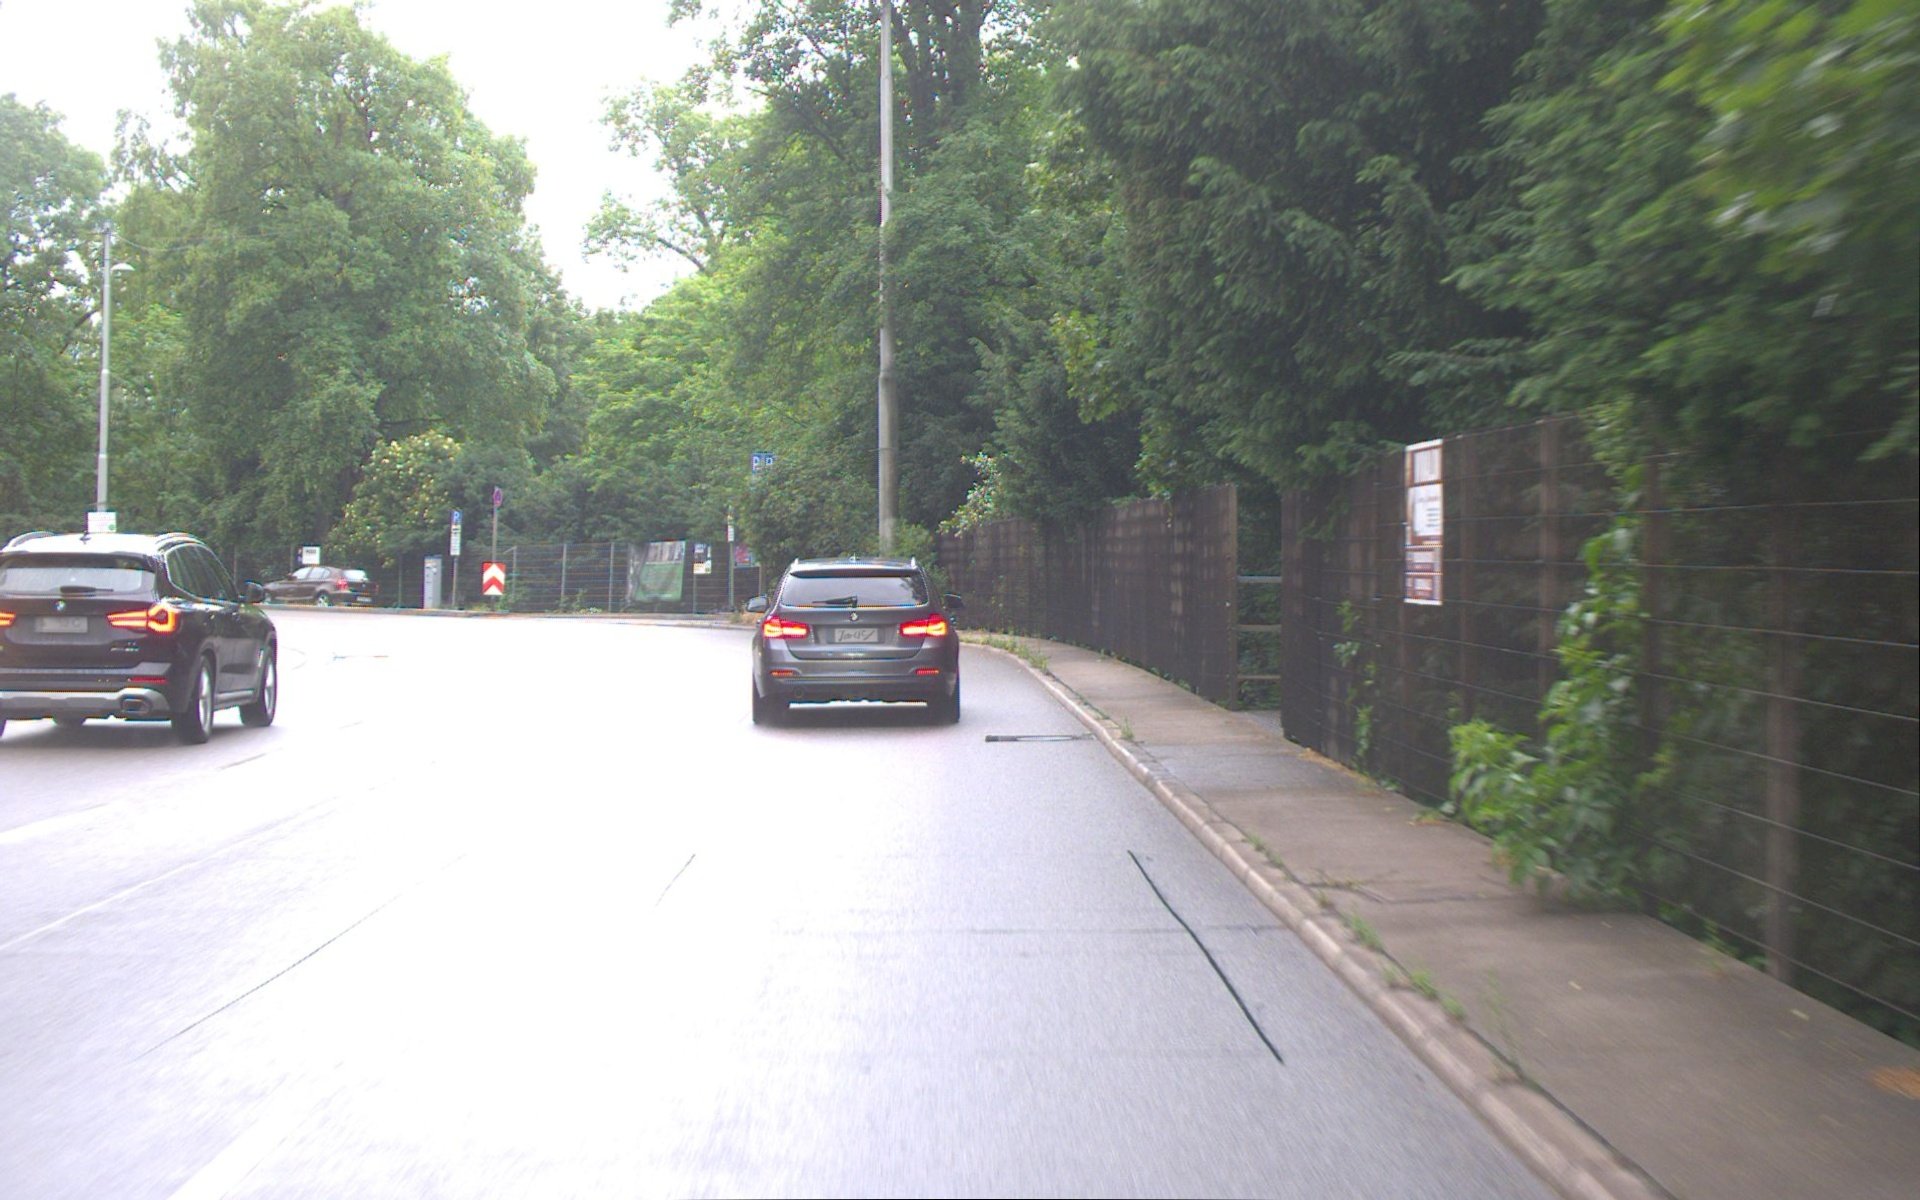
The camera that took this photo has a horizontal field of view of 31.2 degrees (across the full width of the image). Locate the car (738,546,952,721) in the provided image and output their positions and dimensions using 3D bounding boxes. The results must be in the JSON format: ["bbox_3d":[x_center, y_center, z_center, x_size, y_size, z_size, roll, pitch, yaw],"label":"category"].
[{"bbox_3d":[-1.037,0.252,30.954,1.757,1.427,4.413,1,1,-2],"label":"car"}]

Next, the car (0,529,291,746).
[{"bbox_3d":[-6.700,0.247,27.993,1.757,1.580,4.413,2,1,-2],"label":"car"}]

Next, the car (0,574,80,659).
[{"bbox_3d":[-16.040,0.251,57.605,1.701,1.335,3.916,0,1,-2],"label":"car"}]

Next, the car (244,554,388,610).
[{"bbox_3d":[-18.495,-0.515,98.672,4.367,1.422,1.688,2,-2,42],"label":"car"}]
